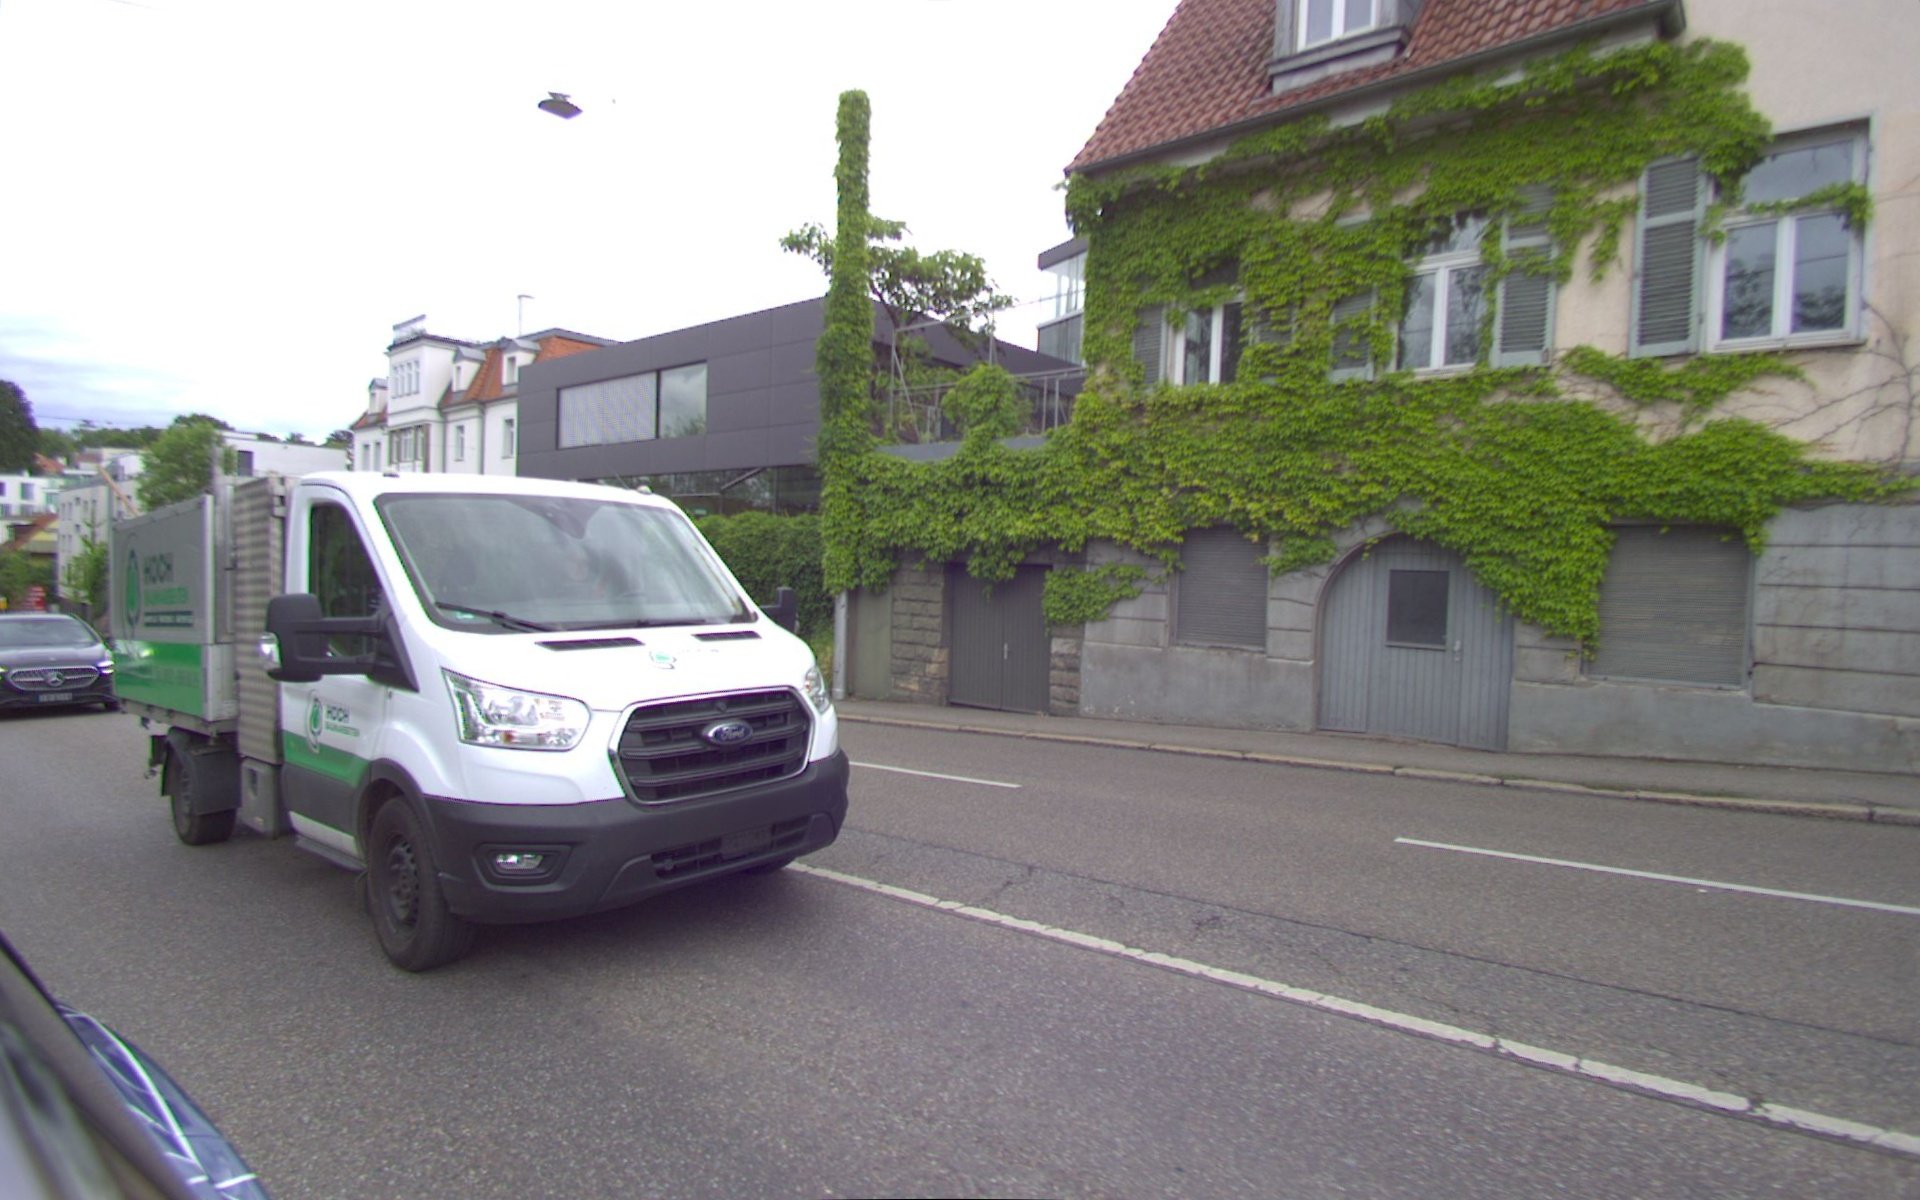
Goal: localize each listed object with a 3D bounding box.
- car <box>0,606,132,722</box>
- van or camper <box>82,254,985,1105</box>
[{"bbox_3d":[-14.283,0.893,15.448,4.333,1.541,1.854,-1,0,41],"label":"car"},{"bbox_3d":[-2.921,0.200,5.961,5.958,2.682,2.321,1,2,39],"label":"van or camper"}]
